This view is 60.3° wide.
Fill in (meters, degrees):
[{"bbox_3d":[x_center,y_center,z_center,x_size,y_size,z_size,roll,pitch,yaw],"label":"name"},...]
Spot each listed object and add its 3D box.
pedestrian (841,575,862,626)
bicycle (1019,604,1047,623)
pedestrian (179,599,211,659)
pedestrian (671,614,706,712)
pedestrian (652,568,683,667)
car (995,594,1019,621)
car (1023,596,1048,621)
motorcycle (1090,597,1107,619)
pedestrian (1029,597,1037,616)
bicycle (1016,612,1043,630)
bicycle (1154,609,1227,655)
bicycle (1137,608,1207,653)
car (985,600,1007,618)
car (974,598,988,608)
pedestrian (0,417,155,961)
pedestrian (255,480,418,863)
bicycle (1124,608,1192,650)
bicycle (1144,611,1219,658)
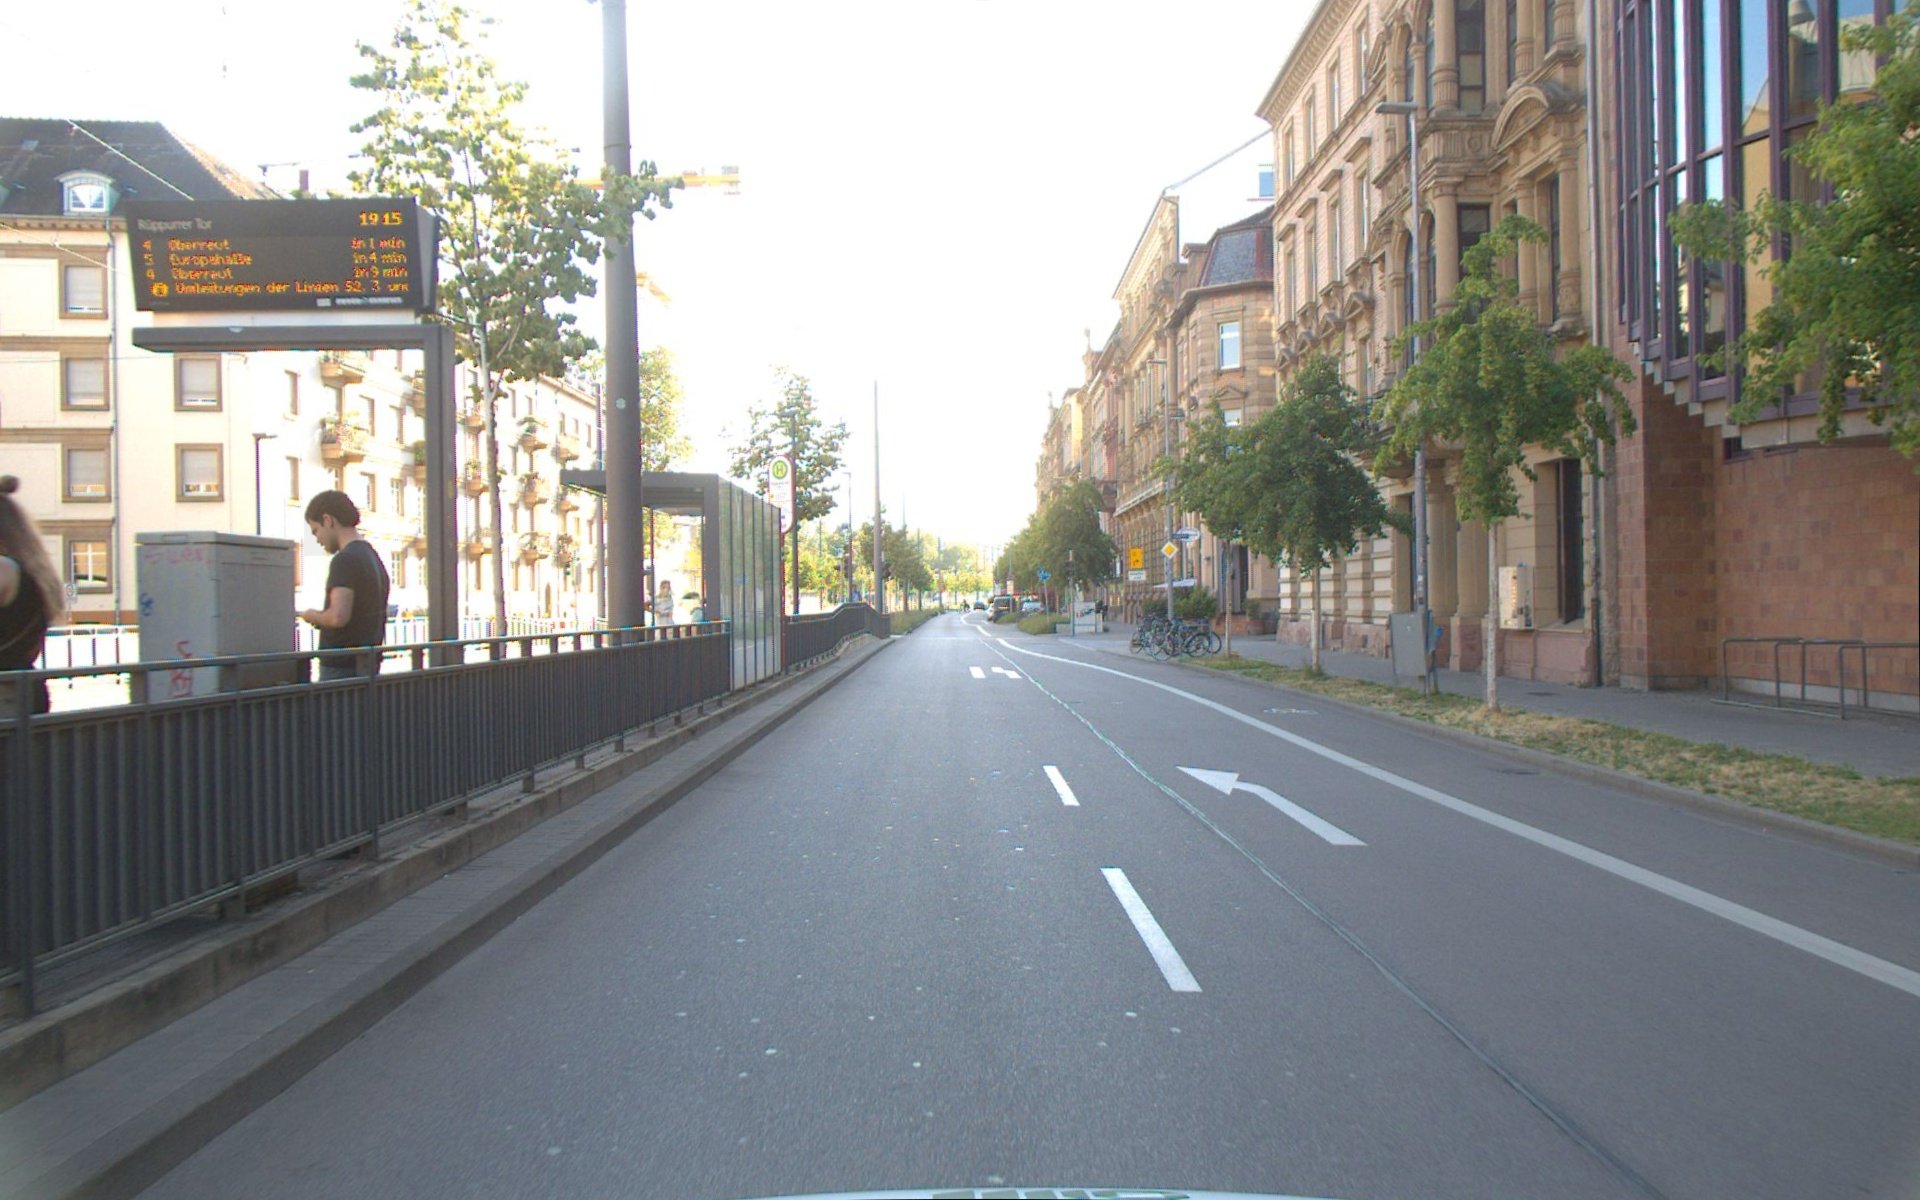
[{"bbox_3d":[-3.561,0.027,54.240,0.641,1.672,0.867,0,-1,0],"label":"pedestrian"},{"bbox_3d":[4.639,0.855,105.125,1.660,1.066,0.488,-3,0,-8],"label":"bicycle"},{"bbox_3d":[-27.000,1.019,58.349,0.784,2.049,0.625,-1,1,0],"label":"pedestrian"},{"bbox_3d":[-3.415,0.788,20.800,0.399,1.211,0.428,-1,0,-13],"label":"pedestrian"},{"bbox_3d":[-4.222,0.247,23.876,0.421,1.410,0.406,-1,0,-12],"label":"pedestrian"},{"bbox_3d":[3.677,0.564,130.243,1.846,1.971,4.474,-1,1,1],"label":"car"},{"bbox_3d":[5.193,0.549,113.544,1.603,1.512,4.213,-3,1,2],"label":"car"},{"bbox_3d":[9.113,0.523,108.592,0.779,1.331,2.852,-3,1,-1],"label":"motorcycle"},{"bbox_3d":[5.918,0.519,133.827,0.612,1.485,0.638,-1,0,-1],"label":"pedestrian"},{"bbox_3d":[4.528,1.387,108.327,1.657,1.066,0.489,-5,0,0],"label":"bicycle"},{"bbox_3d":[6.257,0.861,44.902,1.790,1.083,0.663,-4,1,-6],"label":"bicycle"},{"bbox_3d":[5.928,0.847,46.284,1.790,1.083,0.663,-4,1,-6],"label":"bicycle"},{"bbox_3d":[3.109,0.759,143.451,1.811,1.483,4.157,-1,1,1],"label":"car"},{"bbox_3d":[3.213,0.530,255.973,1.759,1.489,4.003,-1,0,7],"label":"car"},{"bbox_3d":[-3.191,0.292,5.696,0.494,1.762,0.651,-1,0,-1],"label":"pedestrian"},{"bbox_3d":[-2.912,0.321,7.765,0.494,1.708,0.651,-1,0,-1],"label":"pedestrian"},{"bbox_3d":[5.702,0.829,47.755,1.790,1.083,0.663,-4,1,-6],"label":"bicycle"},{"bbox_3d":[5.817,0.894,43.526,1.790,1.083,0.663,-4,1,-6],"label":"bicycle"}]
